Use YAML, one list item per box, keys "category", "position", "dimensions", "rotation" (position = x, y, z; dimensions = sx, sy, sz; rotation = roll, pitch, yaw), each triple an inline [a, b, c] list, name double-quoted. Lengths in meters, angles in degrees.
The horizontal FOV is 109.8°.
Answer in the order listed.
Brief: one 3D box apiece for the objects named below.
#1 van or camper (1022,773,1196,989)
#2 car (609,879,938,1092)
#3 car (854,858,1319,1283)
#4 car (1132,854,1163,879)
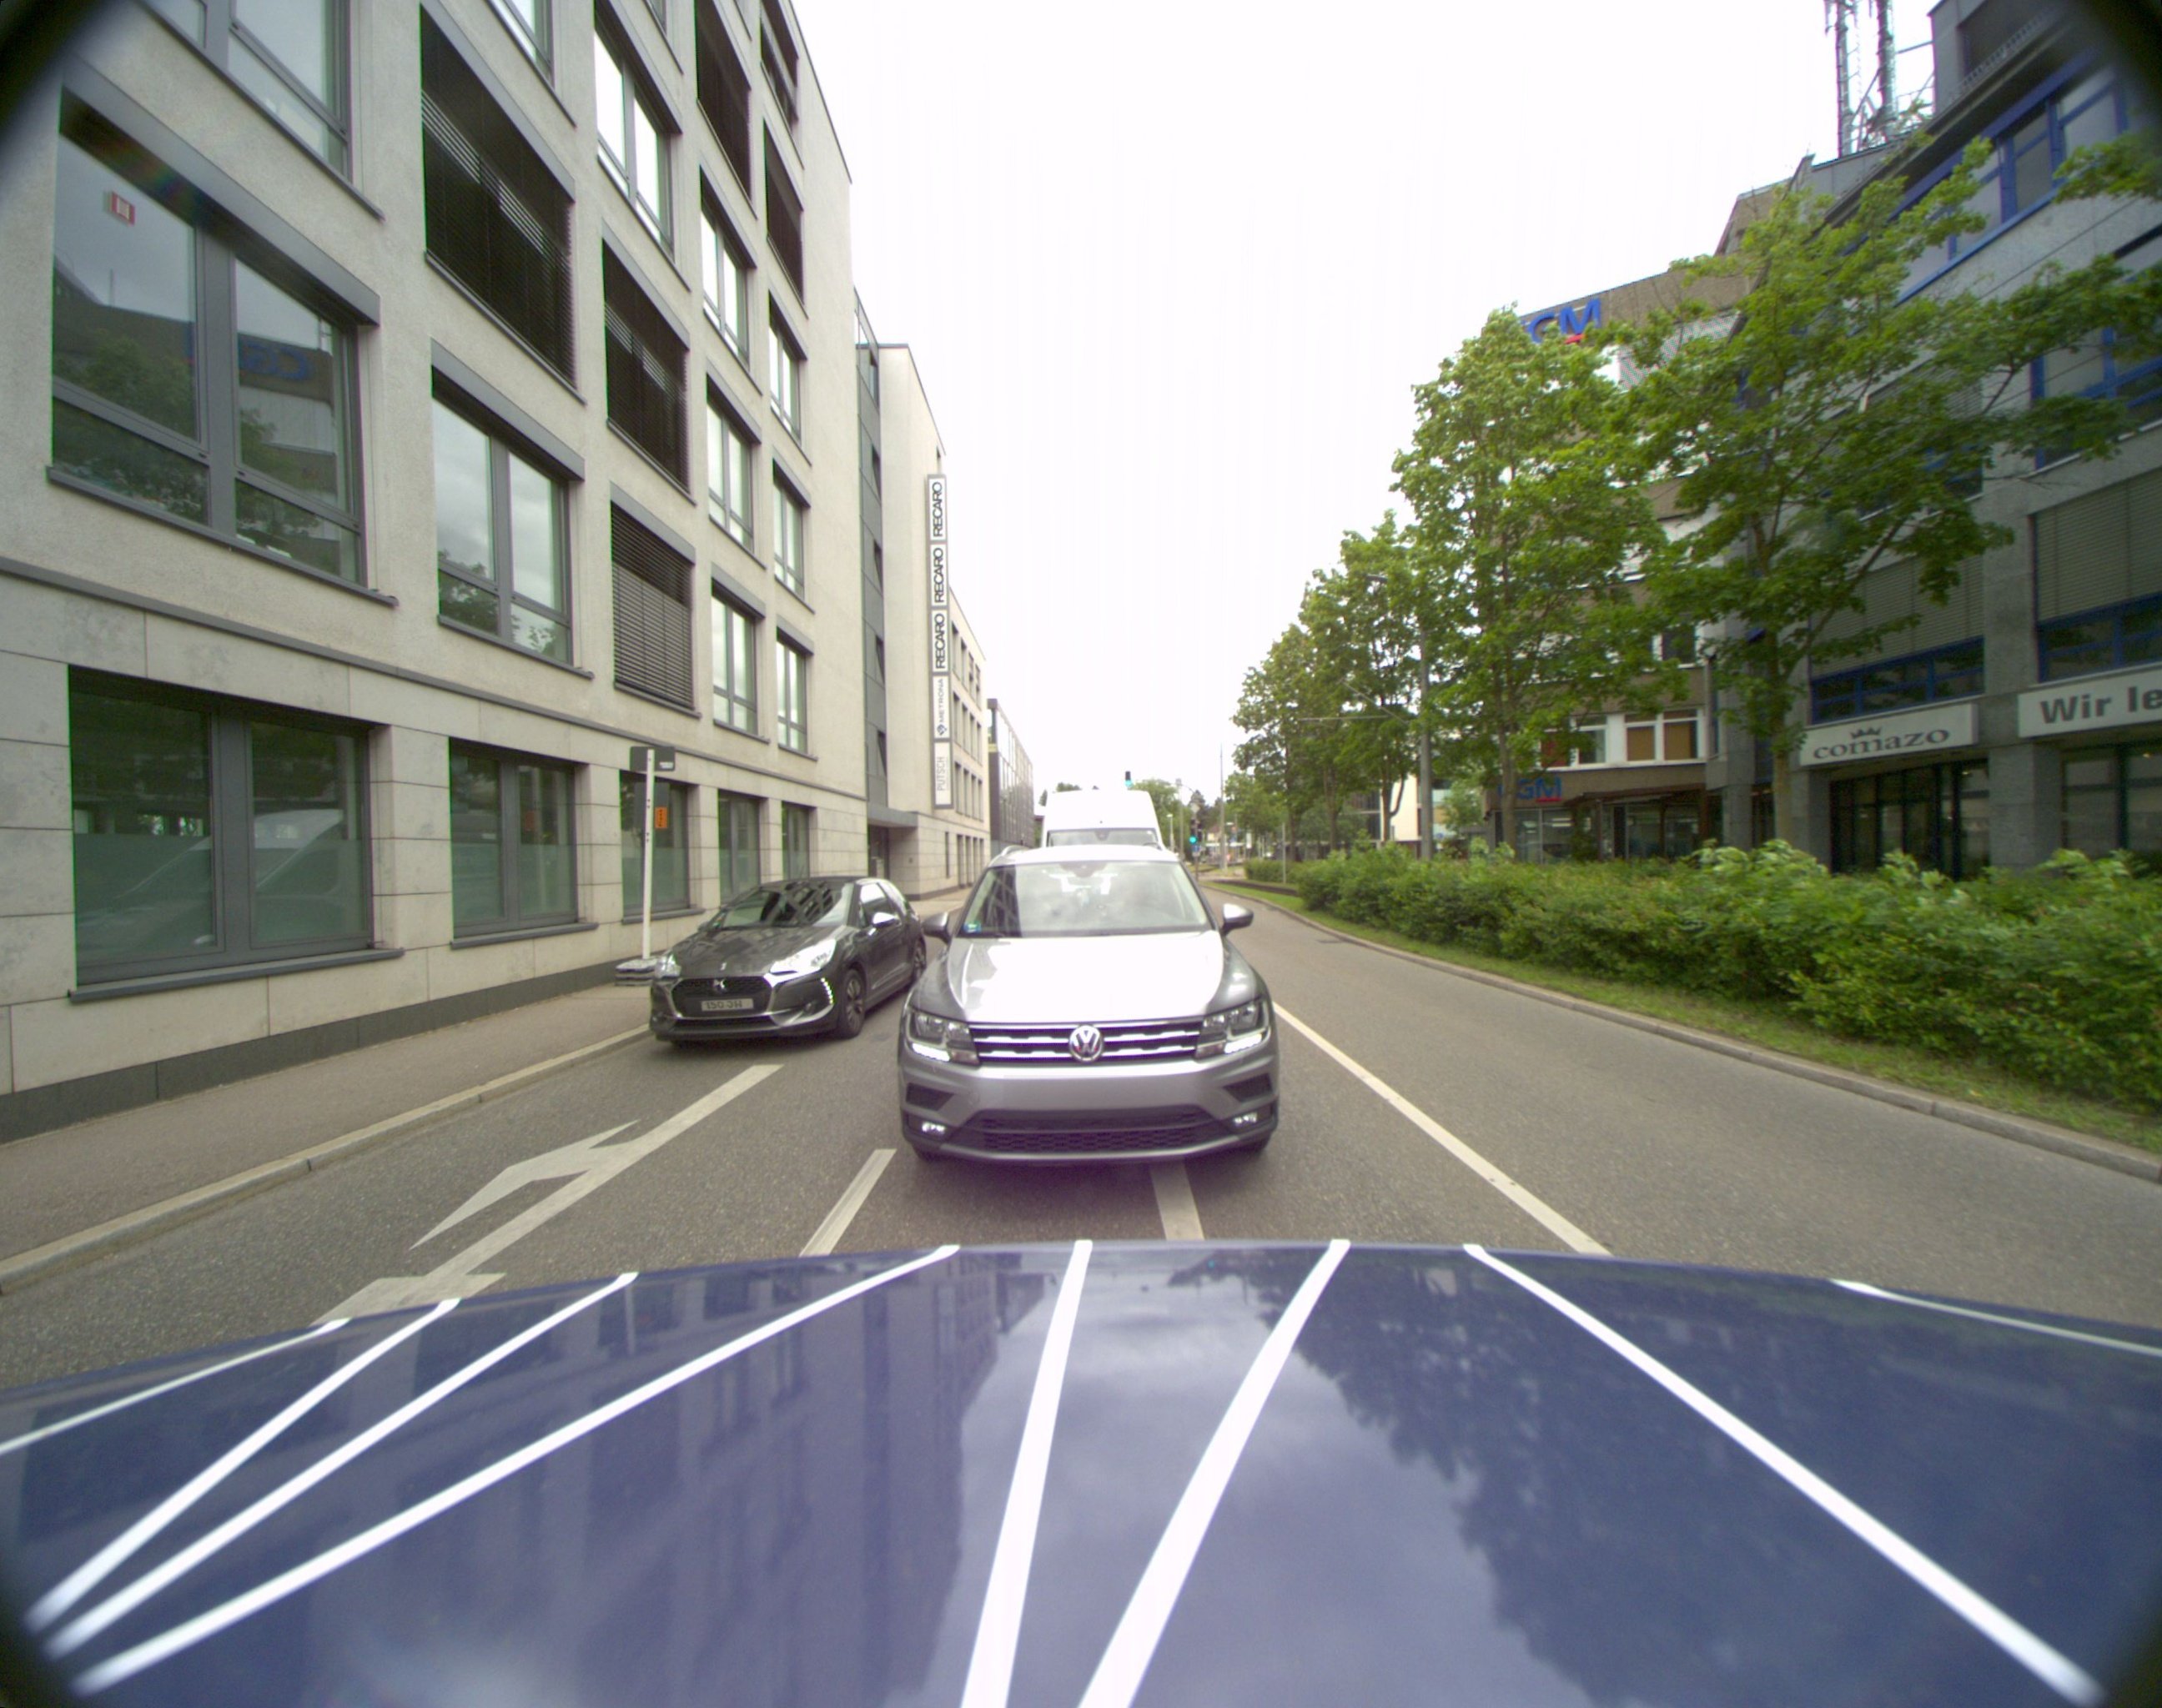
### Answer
- category: "van or camper"
  position: [0.290, 0.350, 12.957]
  dimensions: [2.110, 2.674, 6.298]
  rotation: [-3, 0, -1]
- category: "car"
  position: [-2.797, 1.097, 7.998]
  dimensions: [1.705, 1.452, 4.062]
  rotation: [-3, 0, 1]
- category: "car"
  position: [0.052, 0.908, 5.294]
  dimensions: [1.833, 1.636, 4.326]
  rotation: [-3, 0, 1]
- category: "car"
  position: [4.289, 0.784, 49.465]
  dimensions: [1.754, 1.579, 4.135]
  rotation: [0, 0, 1]
